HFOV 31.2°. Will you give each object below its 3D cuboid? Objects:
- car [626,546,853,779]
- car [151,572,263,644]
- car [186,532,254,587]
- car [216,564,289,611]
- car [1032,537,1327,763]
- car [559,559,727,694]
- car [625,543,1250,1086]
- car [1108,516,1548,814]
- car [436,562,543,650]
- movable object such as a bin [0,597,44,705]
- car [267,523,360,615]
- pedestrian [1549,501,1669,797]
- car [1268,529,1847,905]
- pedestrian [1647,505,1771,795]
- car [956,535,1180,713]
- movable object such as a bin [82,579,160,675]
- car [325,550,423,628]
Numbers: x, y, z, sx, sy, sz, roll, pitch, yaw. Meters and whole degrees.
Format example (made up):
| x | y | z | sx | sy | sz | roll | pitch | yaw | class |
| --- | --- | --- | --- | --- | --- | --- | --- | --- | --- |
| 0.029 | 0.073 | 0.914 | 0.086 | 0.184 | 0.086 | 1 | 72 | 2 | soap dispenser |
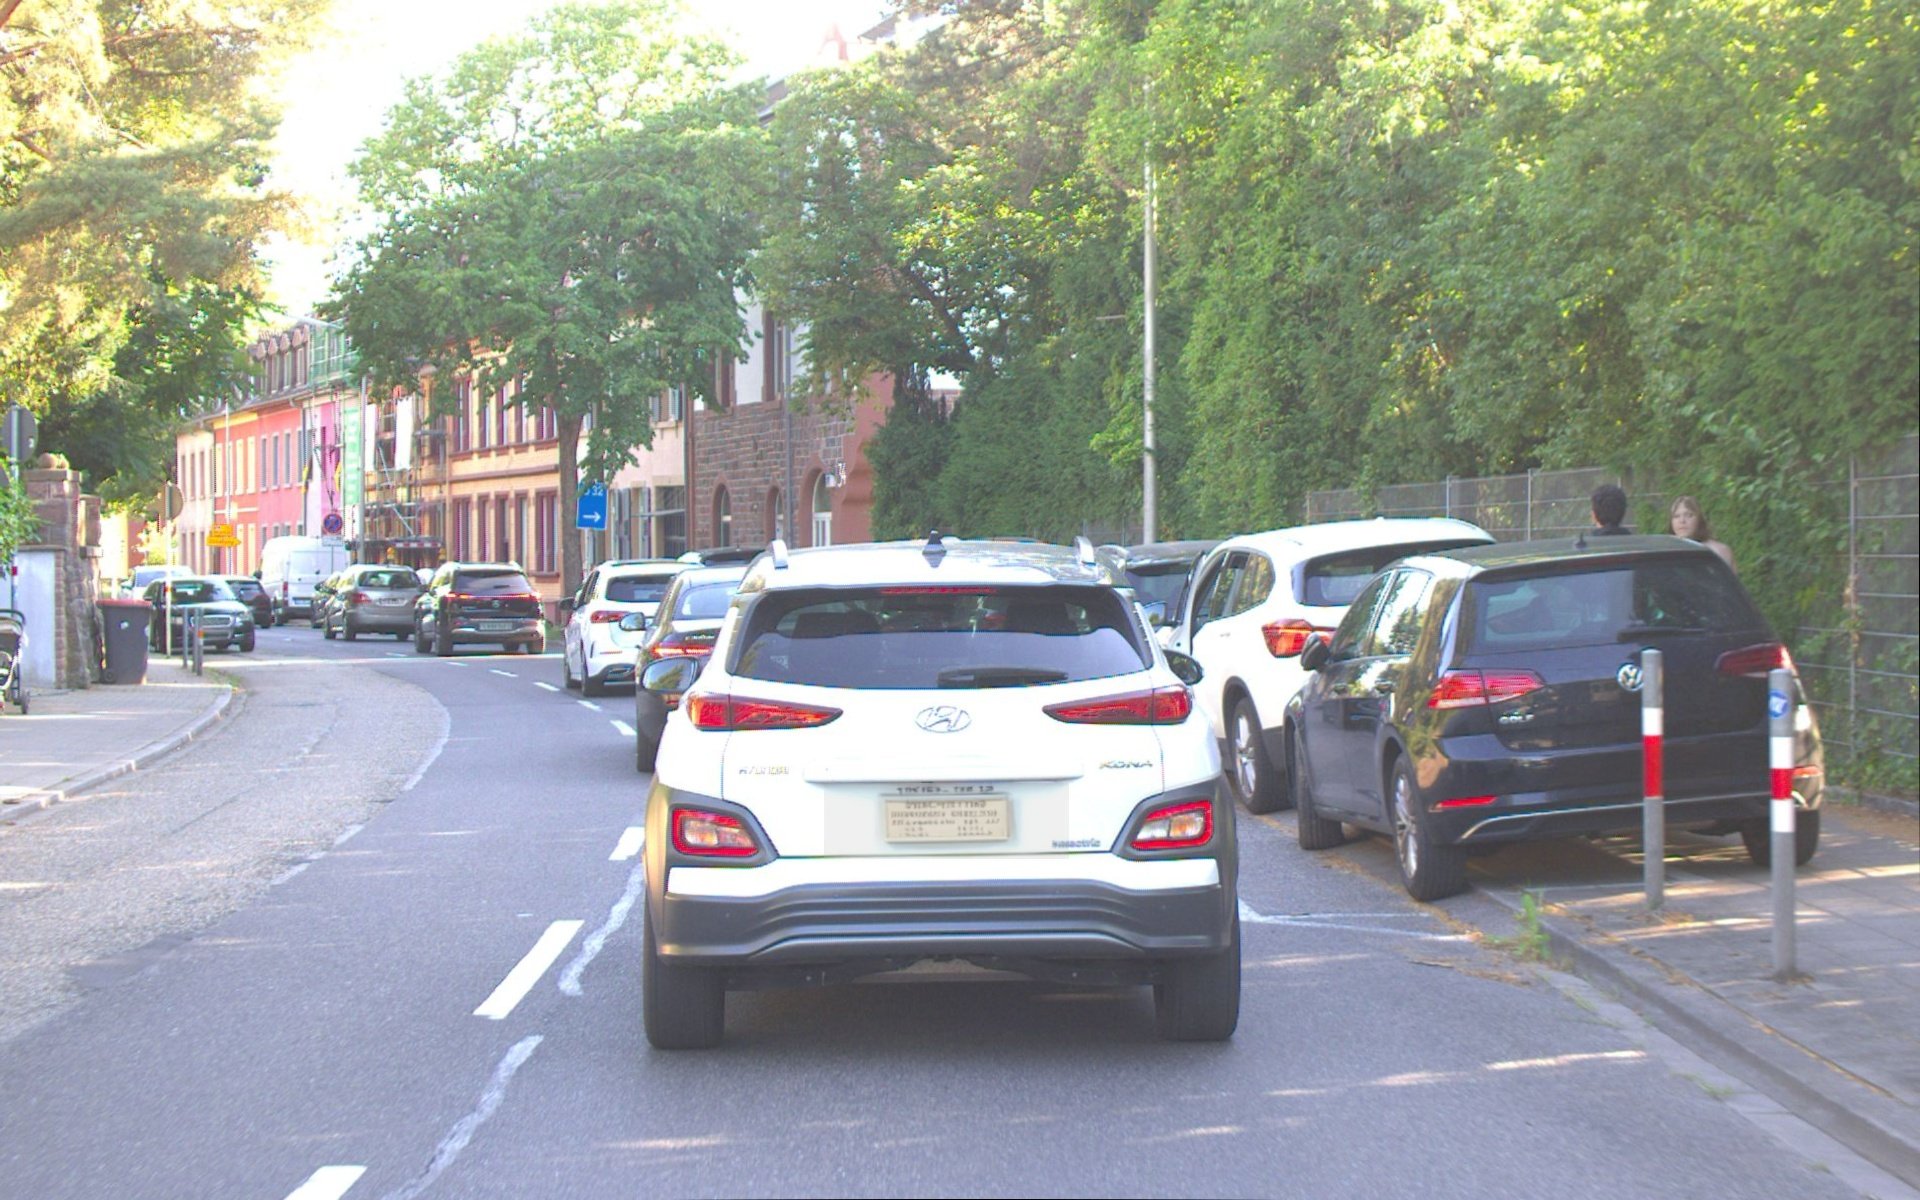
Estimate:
| x | y | z | sx | sy | sz | roll | pitch | yaw | class |
| --- | --- | --- | --- | --- | --- | --- | --- | --- | --- |
| -1.568 | 0.393 | 24.894 | 1.511 | 1.528 | 3.548 | -1 | 1 | -3 | car |
| -14.071 | 0.127 | 64.147 | 1.592 | 1.313 | 3.813 | 0 | 1 | -19 | car |
| -26.662 | -1.448 | 123.809 | 1.717 | 1.929 | 4.001 | -1 | 1 | -22 | car |
| -19.305 | -0.354 | 93.773 | 1.526 | 1.256 | 3.362 | -1 | 1 | -19 | car |
| 1.597 | 0.336 | 26.279 | 1.593 | 1.514 | 3.933 | -3 | 1 | -5 | car |
| -3.746 | 0.281 | 40.240 | 1.570 | 1.472 | 3.549 | 0 | 1 | -11 | car |
| -0.054 | 0.582 | 11.781 | 1.772 | 1.537 | 4.000 | 0 | 1 | 0 | car |
| 2.111 | 0.340 | 20.796 | 1.593 | 1.560 | 4.001 | -3 | 1 | -9 | car |
| -8.195 | 0.086 | 59.708 | 1.592 | 1.456 | 3.100 | -1 | 1 | -12 | car |
| -9.250 | 0.484 | 33.232 | 0.495 | 1.008 | 1.113 | 1 | 0 | -1 | movable object such as a bin |
| -18.748 | -0.893 | 99.553 | 1.928 | 2.574 | 4.395 | -2 | 1 | -19 | car |
| 3.602 | 0.264 | 19.100 | 0.503 | 1.601 | 0.491 | -3 | 1 | 0 | pedestrian |
| 2.570 | 0.435 | 15.734 | 1.686 | 1.426 | 4.001 | -2 | 1 | -3 | car |
| 4.142 | 0.272 | 19.034 | 0.503 | 1.564 | 0.503 | -3 | 1 | 0 | pedestrian |
| 0.949 | 0.180 | 32.080 | 1.593 | 1.484 | 3.603 | -3 | 1 | -5 | car |
| -10.561 | 0.340 | 43.272 | 0.792 | 1.185 | 0.773 | 1 | 0 | -2 | movable object such as a bin |
| -12.291 | -0.247 | 71.951 | 1.589 | 1.577 | 3.362 | -1 | 1 | -17 | car |
